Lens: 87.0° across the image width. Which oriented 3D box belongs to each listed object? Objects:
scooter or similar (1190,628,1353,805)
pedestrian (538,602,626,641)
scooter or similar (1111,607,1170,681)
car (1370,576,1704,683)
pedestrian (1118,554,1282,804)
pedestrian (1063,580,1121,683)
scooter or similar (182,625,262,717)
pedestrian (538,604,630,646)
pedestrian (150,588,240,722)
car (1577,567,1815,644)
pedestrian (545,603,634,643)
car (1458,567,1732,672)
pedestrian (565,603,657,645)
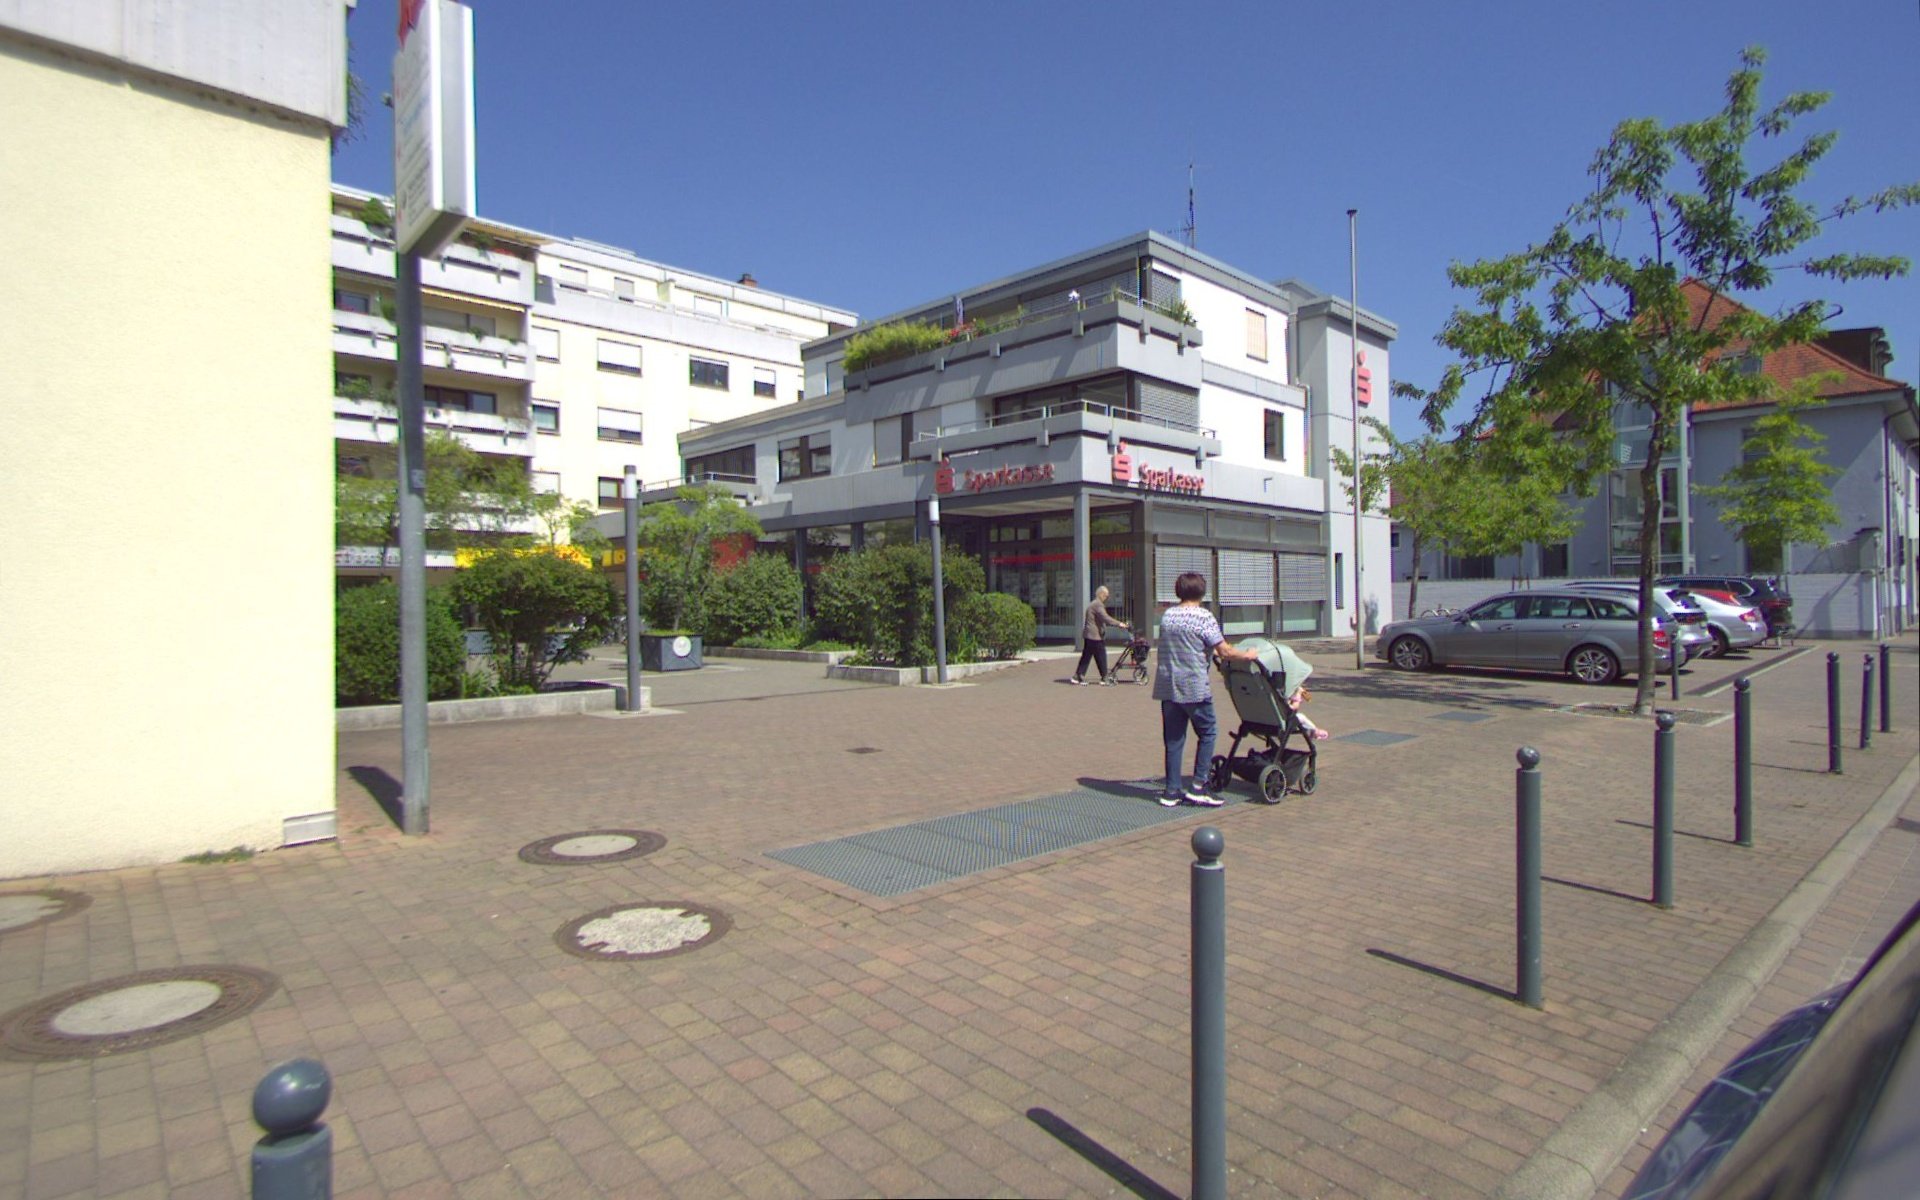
[{"bbox_3d":[2.226,0.782,7.216,1.024,1.120,0.627,0,-1,-38],"label":"scooter or similar"},{"bbox_3d":[-13.203,0.729,35.427,0.982,1.290,2.736,-1,0,40],"label":"pedestrian"},{"bbox_3d":[2.721,0.656,15.282,0.791,1.088,0.590,-1,0,4],"label":"scooter or similar"},{"bbox_3d":[9.534,0.374,16.971,4.575,1.531,1.887,2,2,43],"label":"car"},{"bbox_3d":[1.597,0.486,6.749,0.786,1.541,0.705,0,-1,-38],"label":"pedestrian"},{"bbox_3d":[1.990,0.471,15.346,0.796,1.516,0.668,-1,-1,3],"label":"pedestrian"},{"bbox_3d":[-9.272,0.872,12.743,0.578,1.088,0.807,-1,0,-17],"label":"scooter or similar"},{"bbox_3d":[-12.436,0.791,33.575,0.982,1.290,2.736,-1,0,40],"label":"pedestrian"},{"bbox_3d":[-9.043,0.622,11.994,0.606,1.516,0.813,-1,0,-17],"label":"pedestrian"},{"bbox_3d":[18.733,0.075,25.916,2.112,1.793,4.635,0,1,-43],"label":"car"},{"bbox_3d":[-12.685,0.760,34.754,0.982,1.290,2.736,-1,0,40],"label":"pedestrian"},{"bbox_3d":[11.730,0.254,18.869,1.827,1.592,3.991,-2,5,-45],"label":"car"},{"bbox_3d":[-11.365,0.761,33.017,0.982,1.290,2.736,-1,0,40],"label":"pedestrian"}]
